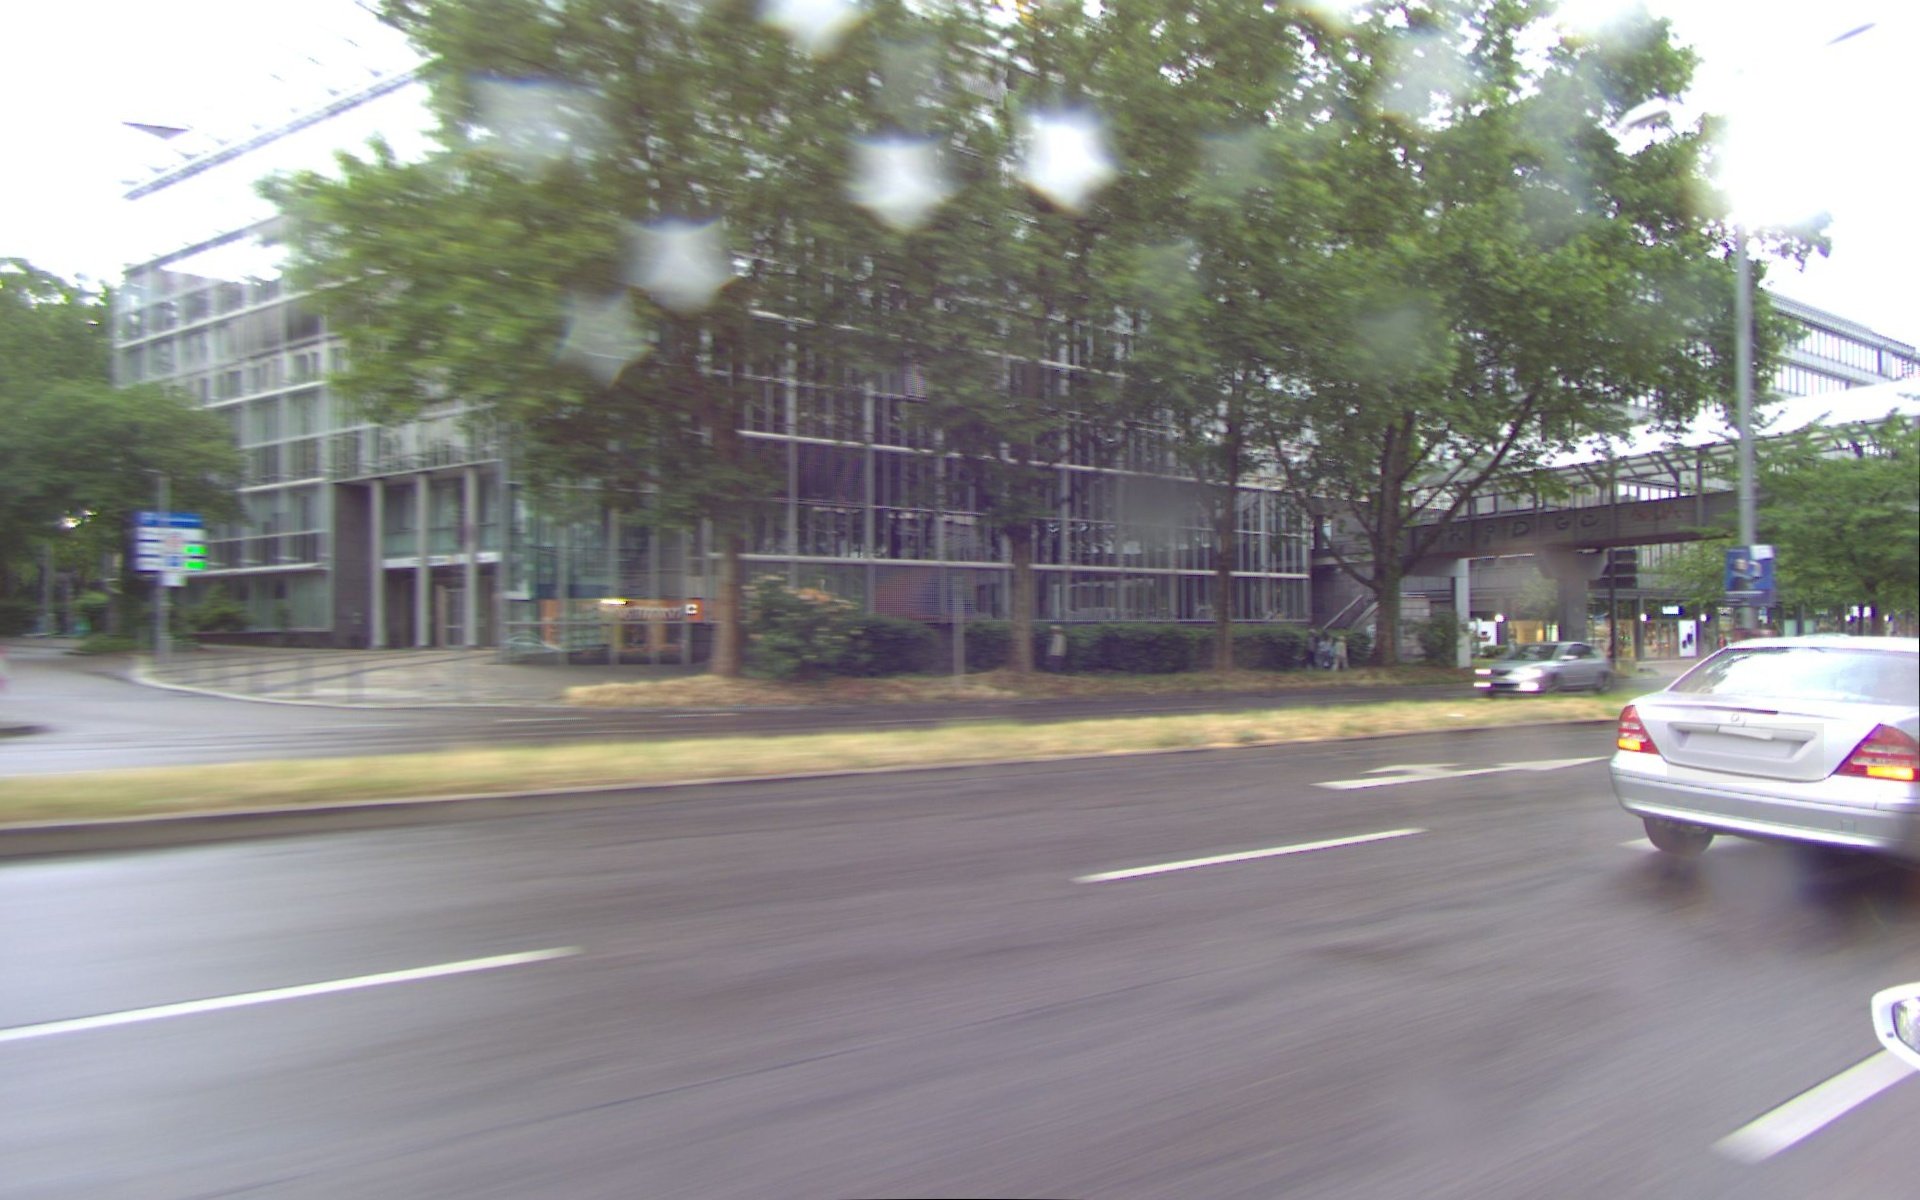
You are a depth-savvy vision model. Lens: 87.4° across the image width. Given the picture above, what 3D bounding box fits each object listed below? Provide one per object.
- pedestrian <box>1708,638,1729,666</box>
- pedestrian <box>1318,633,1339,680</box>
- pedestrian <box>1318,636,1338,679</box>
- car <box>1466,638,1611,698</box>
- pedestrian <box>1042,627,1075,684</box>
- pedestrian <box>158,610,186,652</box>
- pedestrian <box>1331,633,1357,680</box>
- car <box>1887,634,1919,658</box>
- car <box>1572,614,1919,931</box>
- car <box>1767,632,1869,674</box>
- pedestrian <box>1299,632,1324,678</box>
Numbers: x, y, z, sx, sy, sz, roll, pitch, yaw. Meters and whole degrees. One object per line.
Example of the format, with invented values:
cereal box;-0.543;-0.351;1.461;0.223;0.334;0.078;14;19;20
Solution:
pedestrian;49.010;3.350;64.882;1.045;1.738;0.739;1;-2;-31
pedestrian;14.534;2.234;39.594;0.505;1.831;0.603;1;-1;-30
pedestrian;14.804;2.307;40.416;0.505;1.708;0.557;1;-1;-30
car;15.240;1.781;26.418;4.038;1.483;1.652;2;-4;-33
pedestrian;3.253;1.823;33.211;0.793;1.831;0.731;1;-1;-30
pedestrian;-31.199;1.213;39.760;0.647;1.652;0.740;-1;-1;38
pedestrian;14.964;2.189;39.136;0.751;1.831;0.593;1;-1;-30
car;60.396;2.924;63.490;4.397;1.451;1.615;3;-3;-32
car;6.050;0.907;6.534;4.309;1.498;1.665;2;-2;-30
car;38.589;2.394;45.145;5.129;1.791;1.990;2;-5;-33
pedestrian;14.348;2.230;41.017;0.610;1.831;0.719;1;-1;-30
